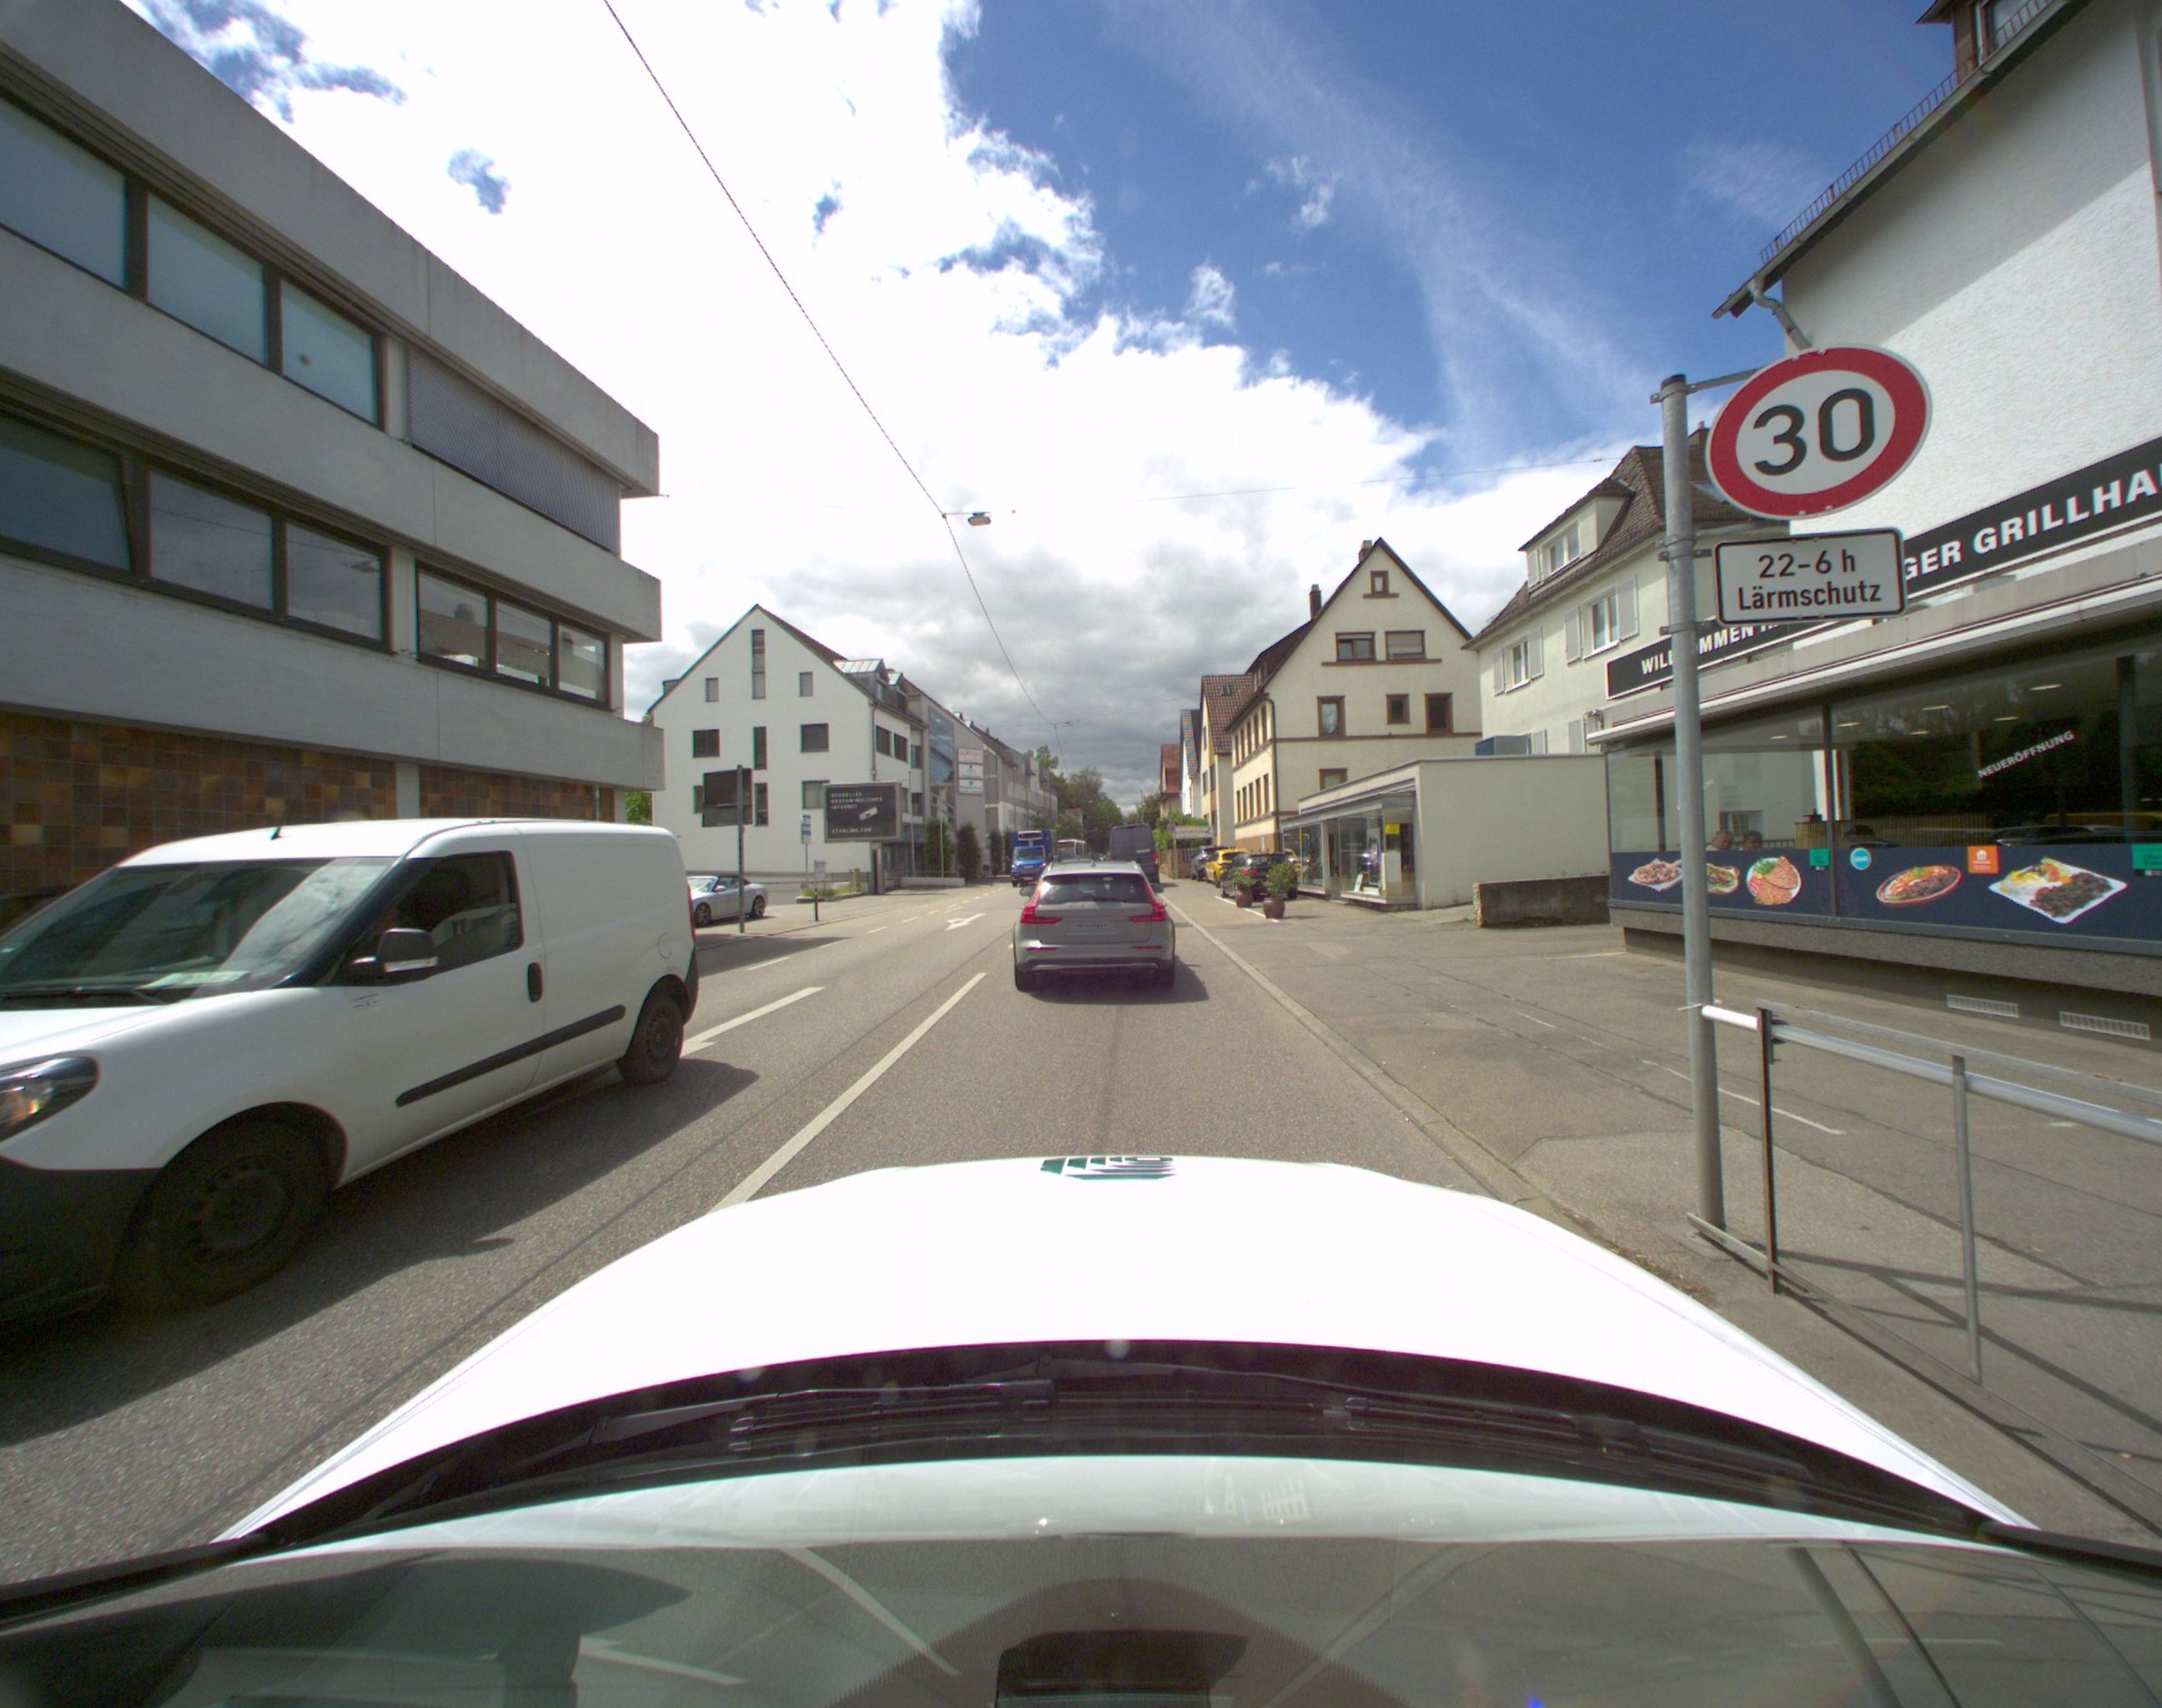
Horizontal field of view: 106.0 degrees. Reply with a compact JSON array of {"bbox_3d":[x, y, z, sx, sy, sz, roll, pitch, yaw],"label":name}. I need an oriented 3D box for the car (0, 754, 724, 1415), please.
[{"bbox_3d":[-3.892,0.669,4.292,1.938,1.821,4.280,-2,0,2],"label":"car"}]

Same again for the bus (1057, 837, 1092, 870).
[{"bbox_3d":[-0.585,-0.057,85.325,2.703,3.163,8.080,-2,0,5],"label":"bus"}]

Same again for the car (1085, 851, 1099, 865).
[{"bbox_3d":[1.730,0.621,129.017,2.097,2.121,4.767,-2,0,2],"label":"car"}]

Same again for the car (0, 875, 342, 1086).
[{"bbox_3d":[-9.096,1.023,7.452,1.728,1.556,3.061,-1,0,5],"label":"car"}]

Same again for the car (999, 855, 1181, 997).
[{"bbox_3d":[0.235,0.768,10.554,1.888,1.453,3.973,-1,0,4],"label":"car"}]

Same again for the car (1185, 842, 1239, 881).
[{"bbox_3d":[6.124,0.334,38.472,1.854,1.612,4.588,-3,0,2],"label":"car"}]

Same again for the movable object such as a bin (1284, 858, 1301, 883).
[{"bbox_3d":[8.185,0.638,31.541,0.498,0.925,0.599,-2,0,6],"label":"movable object such as a bin"}]

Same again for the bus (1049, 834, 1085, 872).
[{"bbox_3d":[-1.197,-0.076,76.251,2.671,3.163,10.190,-2,0,2],"label":"bus"}]

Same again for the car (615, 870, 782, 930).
[{"bbox_3d":[-10.499,1.203,22.844,1.941,1.358,4.864,-2,0,6],"label":"car"}]

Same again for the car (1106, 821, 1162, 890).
[{"bbox_3d":[2.365,0.065,36.840,2.243,2.795,5.573,-2,0,3],"label":"car"}]

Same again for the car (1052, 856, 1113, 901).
[{"bbox_3d":[0.123,0.819,28.756,1.888,1.446,3.972,-1,0,3],"label":"car"}]

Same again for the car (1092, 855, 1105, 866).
[{"bbox_3d":[2.962,1.136,139.588,2.097,1.709,4.767,-2,0,2],"label":"car"}]

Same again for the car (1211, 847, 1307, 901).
[{"bbox_3d":[5.376,0.572,25.182,1.962,1.447,4.535,-3,0,0],"label":"car"}]

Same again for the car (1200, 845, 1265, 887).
[{"bbox_3d":[6.186,0.431,33.677,1.871,1.447,4.308,-2,2,0],"label":"car"}]

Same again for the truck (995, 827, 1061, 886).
[{"bbox_3d":[-2.945,0.157,47.958,2.842,3.093,8.094,-2,0,3],"label":"truck"}]

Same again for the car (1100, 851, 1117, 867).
[{"bbox_3d":[3.567,0.577,105.728,1.985,2.013,4.004,-1,0,4],"label":"car"}]
